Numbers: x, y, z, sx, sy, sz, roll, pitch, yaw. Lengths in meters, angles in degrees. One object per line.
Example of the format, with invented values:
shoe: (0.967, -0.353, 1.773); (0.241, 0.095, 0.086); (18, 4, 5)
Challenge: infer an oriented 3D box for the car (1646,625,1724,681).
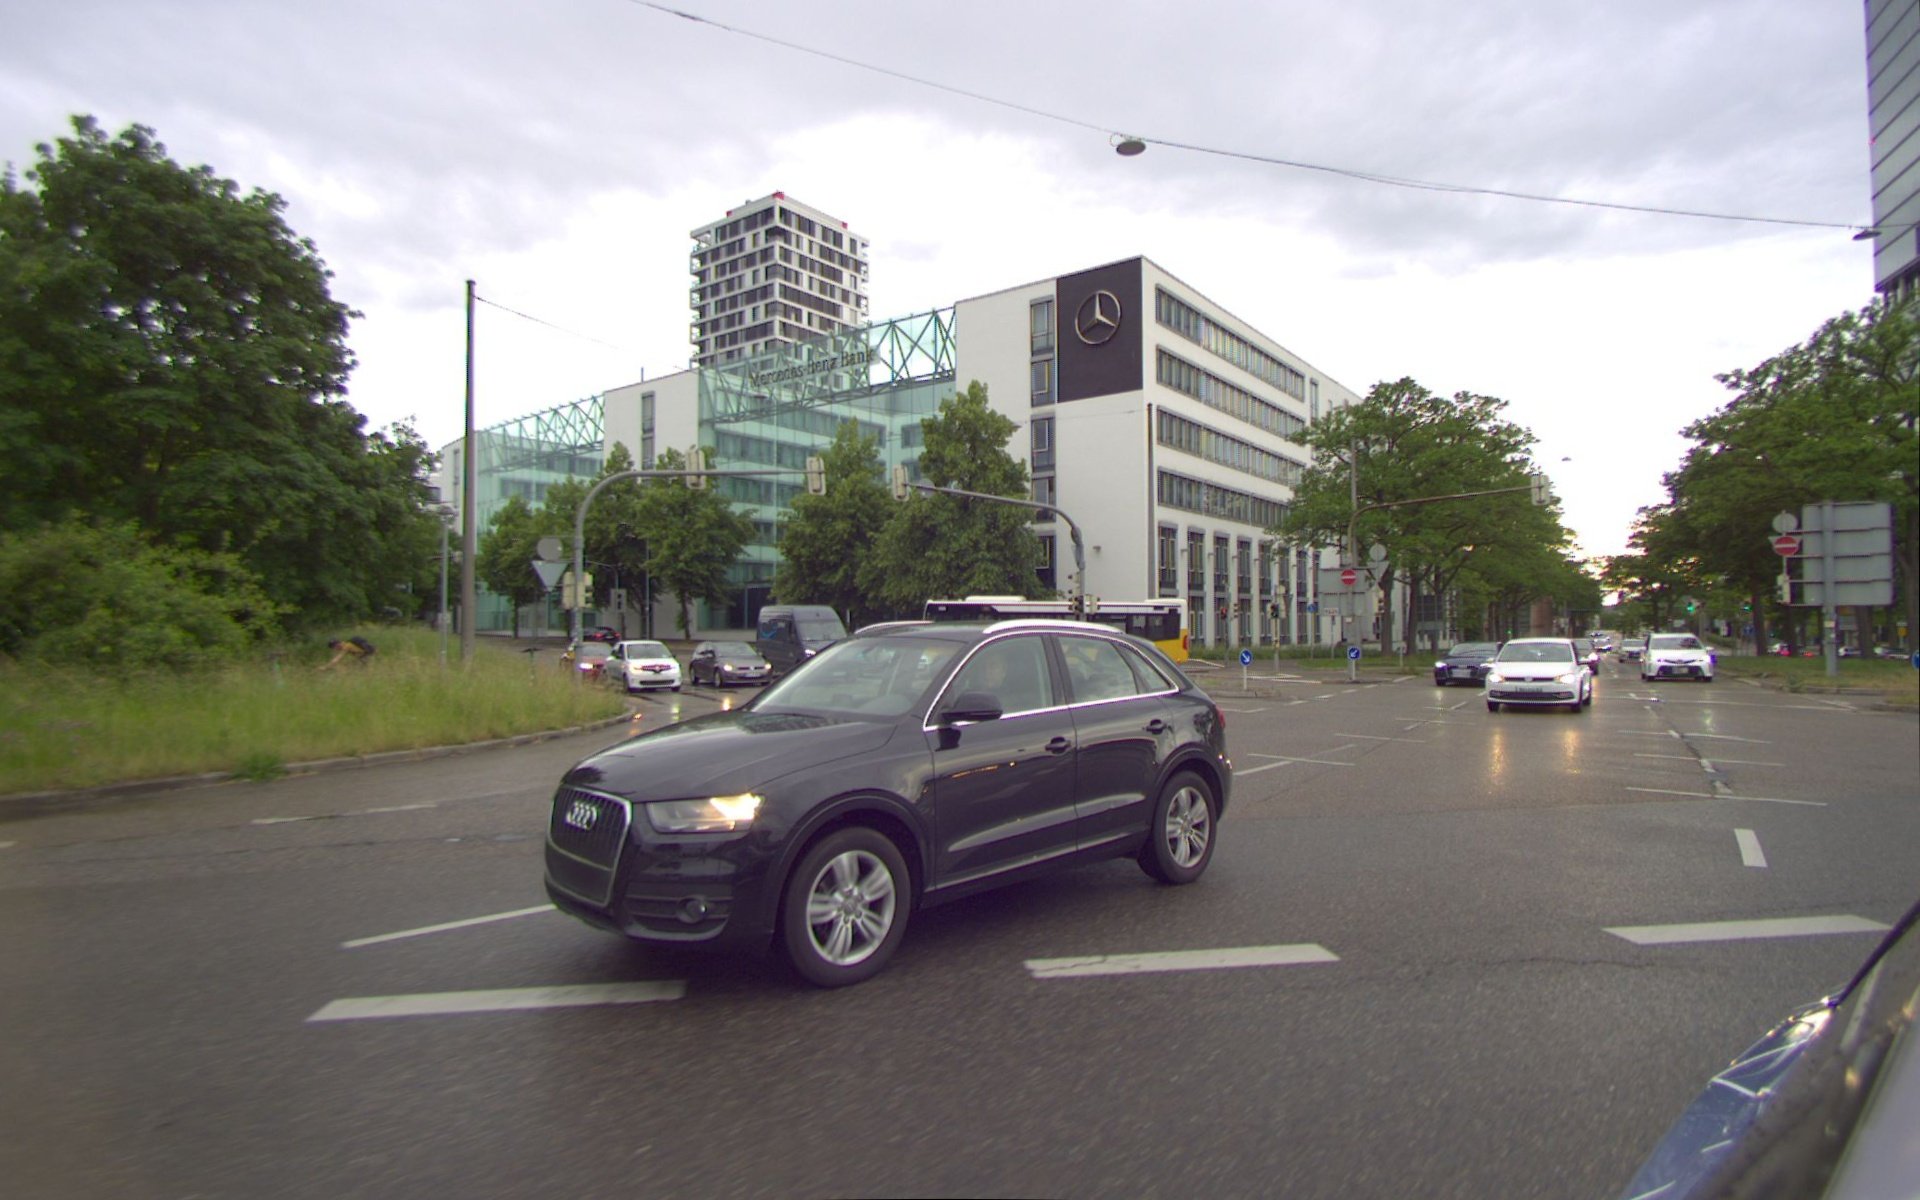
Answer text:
car: (23.936, 1.709, 33.538); (1.815, 1.604, 4.247); (-3, -1, 33)

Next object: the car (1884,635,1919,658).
car: (64.661, 3.142, 69.057); (1.772, 1.504, 4.005); (-2, -2, 34)

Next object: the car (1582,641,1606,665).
car: (56.329, 4.697, 89.901); (1.602, 2.040, 3.585); (-2, -2, 36)

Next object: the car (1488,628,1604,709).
car: (12.201, 1.346, 20.955); (1.719, 1.491, 4.210); (-3, -3, 34)

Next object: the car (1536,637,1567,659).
car: (43.128, 3.478, 73.801); (1.602, 1.533, 3.585); (-2, -2, 36)

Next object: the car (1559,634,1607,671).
car: (26.047, 2.157, 42.272); (1.559, 1.433, 3.832); (-2, -2, 33)

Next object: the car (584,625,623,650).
car: (-24.432, 2.566, 69.265); (1.809, 1.586, 4.170); (1, -2, -30)

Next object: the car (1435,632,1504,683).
car: (15.926, 1.753, 31.558); (1.745, 1.416, 3.958); (-1, -1, 29)

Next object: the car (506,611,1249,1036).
car: (-0.179, 0.842, 5.761); (4.058, 1.553, 1.726); (1, -1, -44)

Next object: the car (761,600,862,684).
car: (-5.263, 1.440, 35.311); (1.891, 2.700, 4.808); (1, -2, -30)

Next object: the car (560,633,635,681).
car: (-12.959, 2.000, 36.042); (1.809, 1.586, 4.170); (1, -2, -30)

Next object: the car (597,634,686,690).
car: (-9.943, 1.870, 31.446); (1.809, 1.586, 4.170); (1, -2, -30)

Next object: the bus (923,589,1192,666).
bus: (4.236, 1.243, 44.778); (11.667, 3.242, 1.991); (-1, -2, 14)

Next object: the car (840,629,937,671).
car: (-2.654, 1.797, 36.801); (1.697, 1.433, 4.119); (1, -2, -33)

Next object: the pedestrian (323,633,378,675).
pedestrian: (-12.699, 1.120, 21.098); (0.589, 0.836, 0.842); (-2, -2, 42)

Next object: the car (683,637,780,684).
car: (-7.638, 1.949, 33.460); (1.891, 1.414, 4.559); (1, -2, -30)
